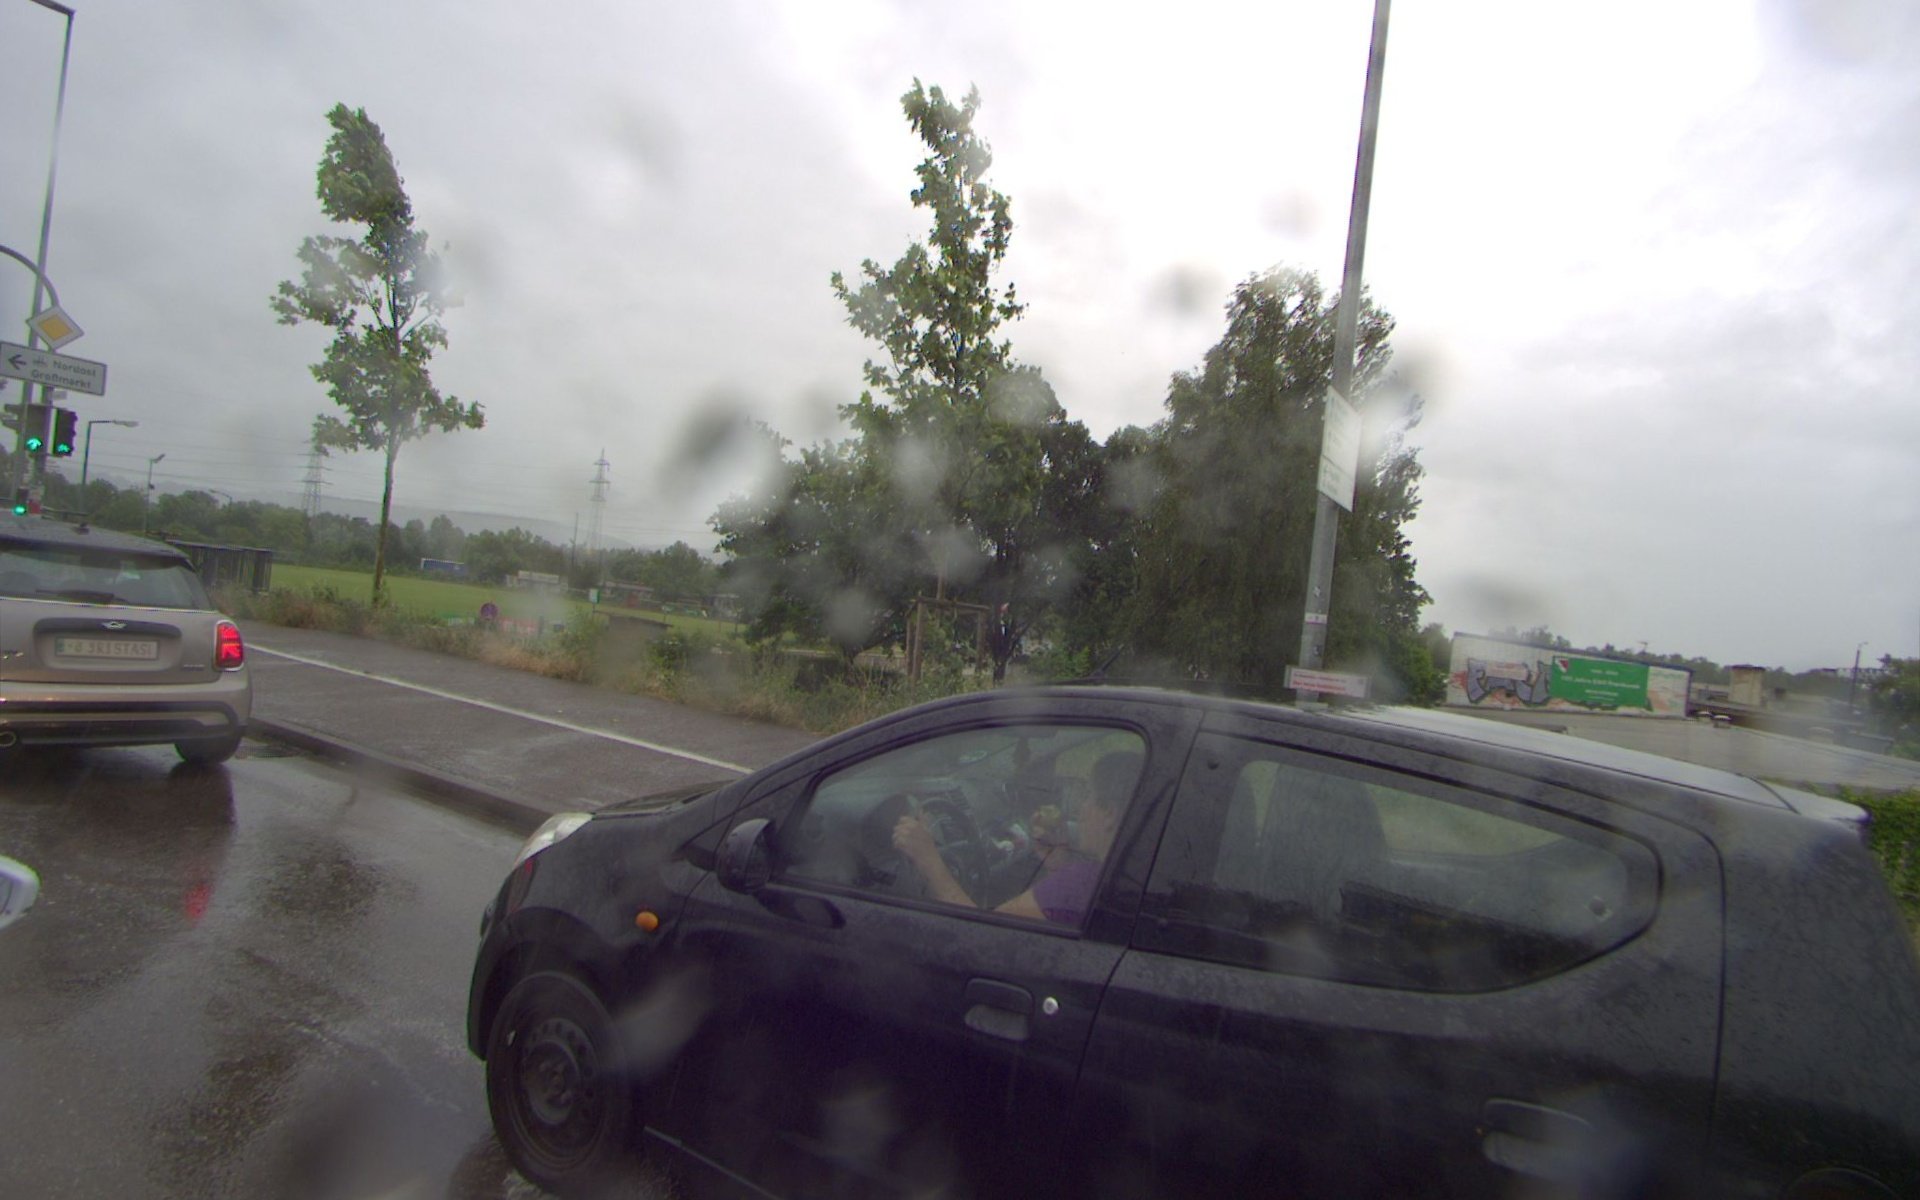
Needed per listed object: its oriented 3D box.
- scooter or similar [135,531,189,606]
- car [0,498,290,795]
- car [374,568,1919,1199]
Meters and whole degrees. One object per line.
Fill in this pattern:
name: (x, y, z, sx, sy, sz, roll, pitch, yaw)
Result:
scooter or similar: (-13.427, -0.534, 16.914, 1.167, 1.171, 0.246, 6, -1, 33)
car: (-6.227, 0.130, 6.455, 3.563, 1.525, 1.717, 6, -2, 31)
car: (0.470, 0.889, 2.450, 3.563, 1.445, 1.632, 7, -2, 31)
